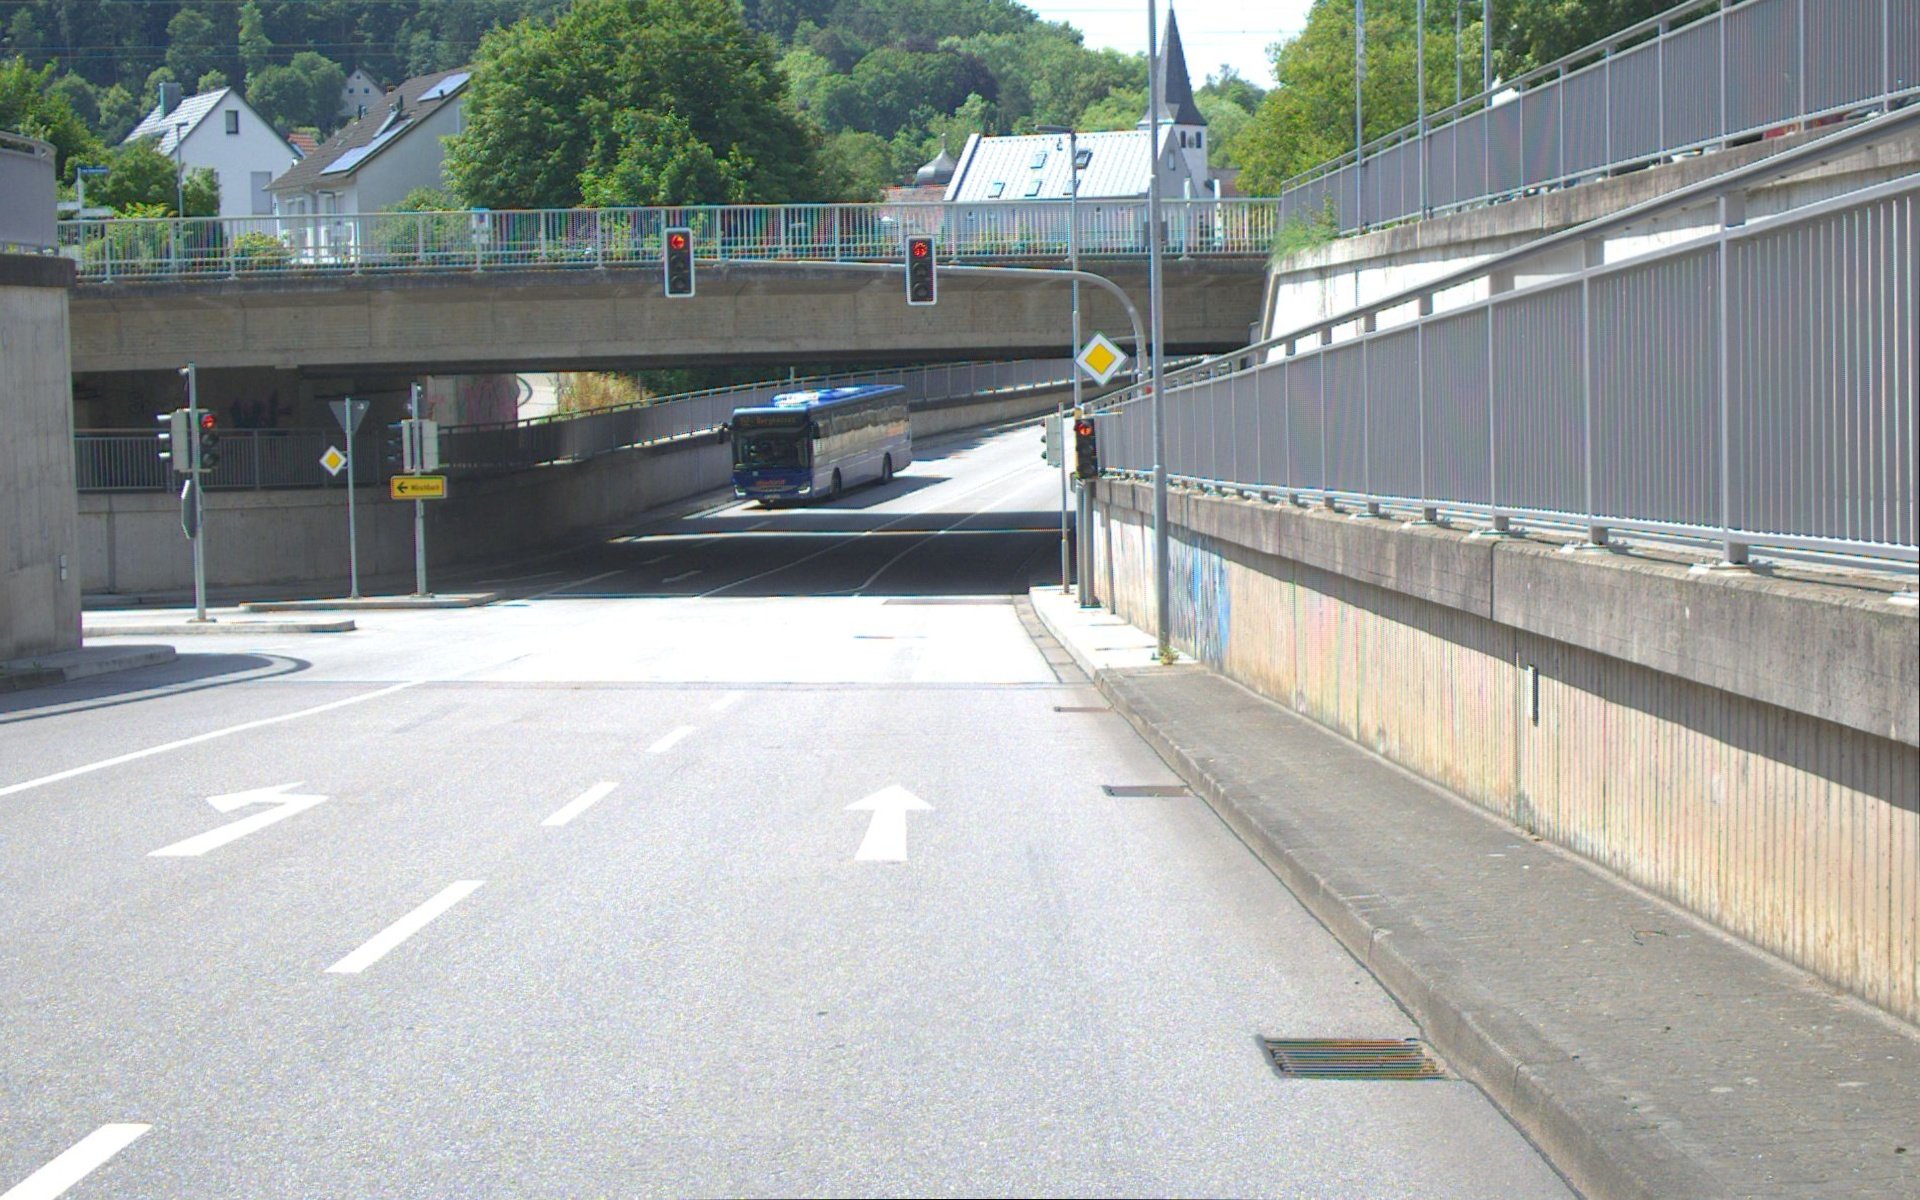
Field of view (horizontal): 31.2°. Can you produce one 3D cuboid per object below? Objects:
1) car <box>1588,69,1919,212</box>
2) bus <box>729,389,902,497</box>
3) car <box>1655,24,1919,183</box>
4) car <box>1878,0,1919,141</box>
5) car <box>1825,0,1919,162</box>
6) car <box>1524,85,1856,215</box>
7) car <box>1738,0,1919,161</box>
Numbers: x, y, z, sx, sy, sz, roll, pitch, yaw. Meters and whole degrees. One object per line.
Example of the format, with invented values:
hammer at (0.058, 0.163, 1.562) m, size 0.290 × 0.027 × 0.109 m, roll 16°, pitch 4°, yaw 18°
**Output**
car at (9.551, -5.414, 40.629) m, size 3.987 × 1.481 × 1.770 m, roll 0°, pitch 1°, yaw 3°
bus at (-4.352, -4.975, 106.989) m, size 2.582 × 3.161 × 12.373 m, roll 0°, pitch 4°, yaw 11°
car at (9.619, -5.323, 36.955) m, size 3.987 × 1.481 × 1.770 m, roll 0°, pitch 1°, yaw 3°
car at (9.590, -4.534, 27.612) m, size 3.987 × 1.481 × 1.770 m, roll 0°, pitch 1°, yaw 3°
car at (9.758, -4.669, 30.055) m, size 3.987 × 1.481 × 1.770 m, roll 0°, pitch 1°, yaw 3°
car at (9.454, -5.838, 44.740) m, size 3.987 × 1.481 × 1.770 m, roll 0°, pitch 1°, yaw 3°
car at (9.557, -5.051, 32.640) m, size 3.987 × 1.562 × 1.770 m, roll 0°, pitch 1°, yaw 3°
